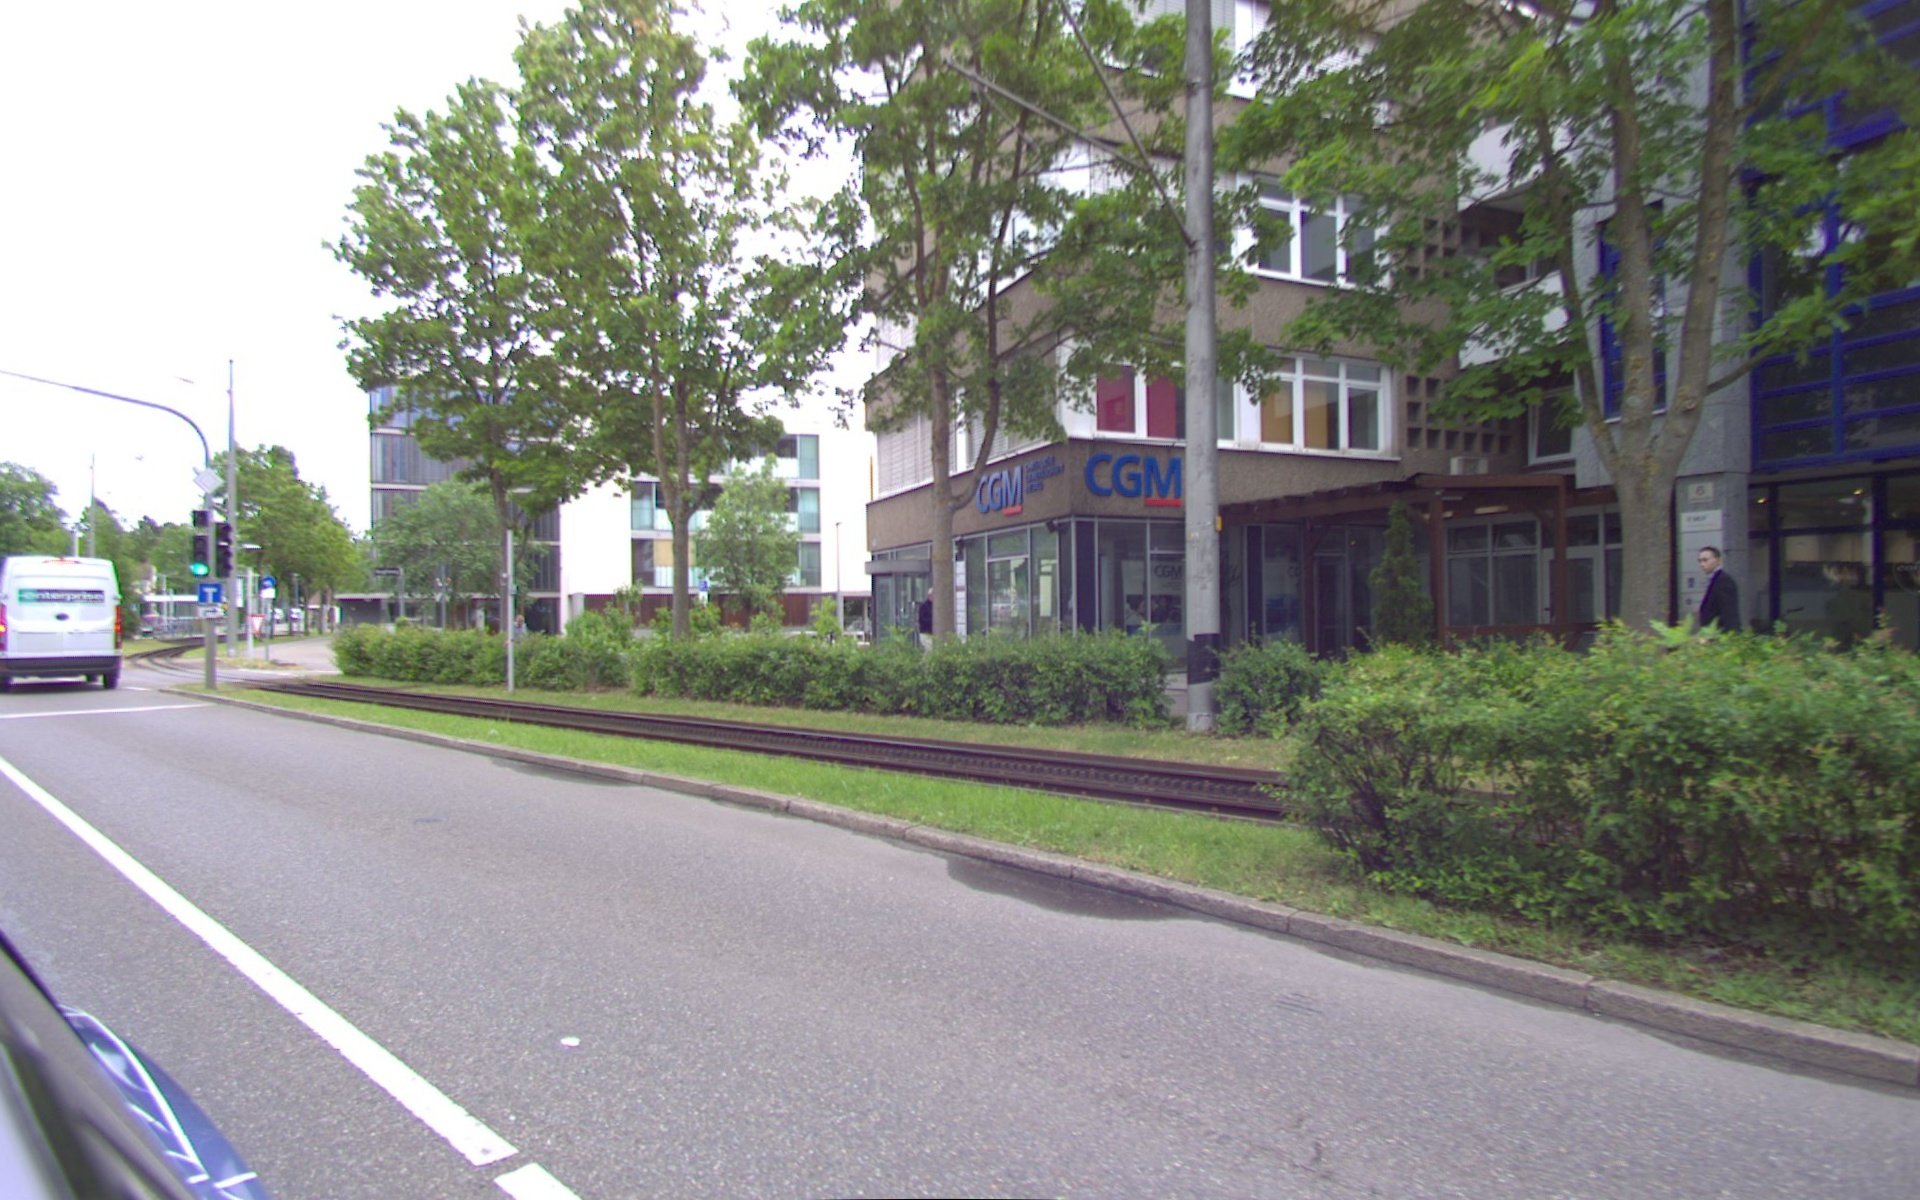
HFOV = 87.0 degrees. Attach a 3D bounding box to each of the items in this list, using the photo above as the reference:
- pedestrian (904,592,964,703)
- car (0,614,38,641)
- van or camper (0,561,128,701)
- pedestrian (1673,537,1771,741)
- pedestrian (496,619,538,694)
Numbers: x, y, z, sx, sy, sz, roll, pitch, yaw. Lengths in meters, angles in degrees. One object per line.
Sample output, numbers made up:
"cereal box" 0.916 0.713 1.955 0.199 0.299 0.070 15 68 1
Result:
"pedestrian" -0.459 0.822 17.973 0.731 1.908 0.767 -1 0 39
"car" -75.754 2.185 80.908 1.965 2.029 4.013 -1 0 -26
"van or camper" -20.557 0.634 22.677 6.151 2.754 2.085 -1 0 42
"pedestrian" 7.668 0.369 10.181 0.731 1.938 0.805 -1 0 40
"pedestrian" -11.147 1.404 25.454 0.730 1.819 0.672 -1 0 36
